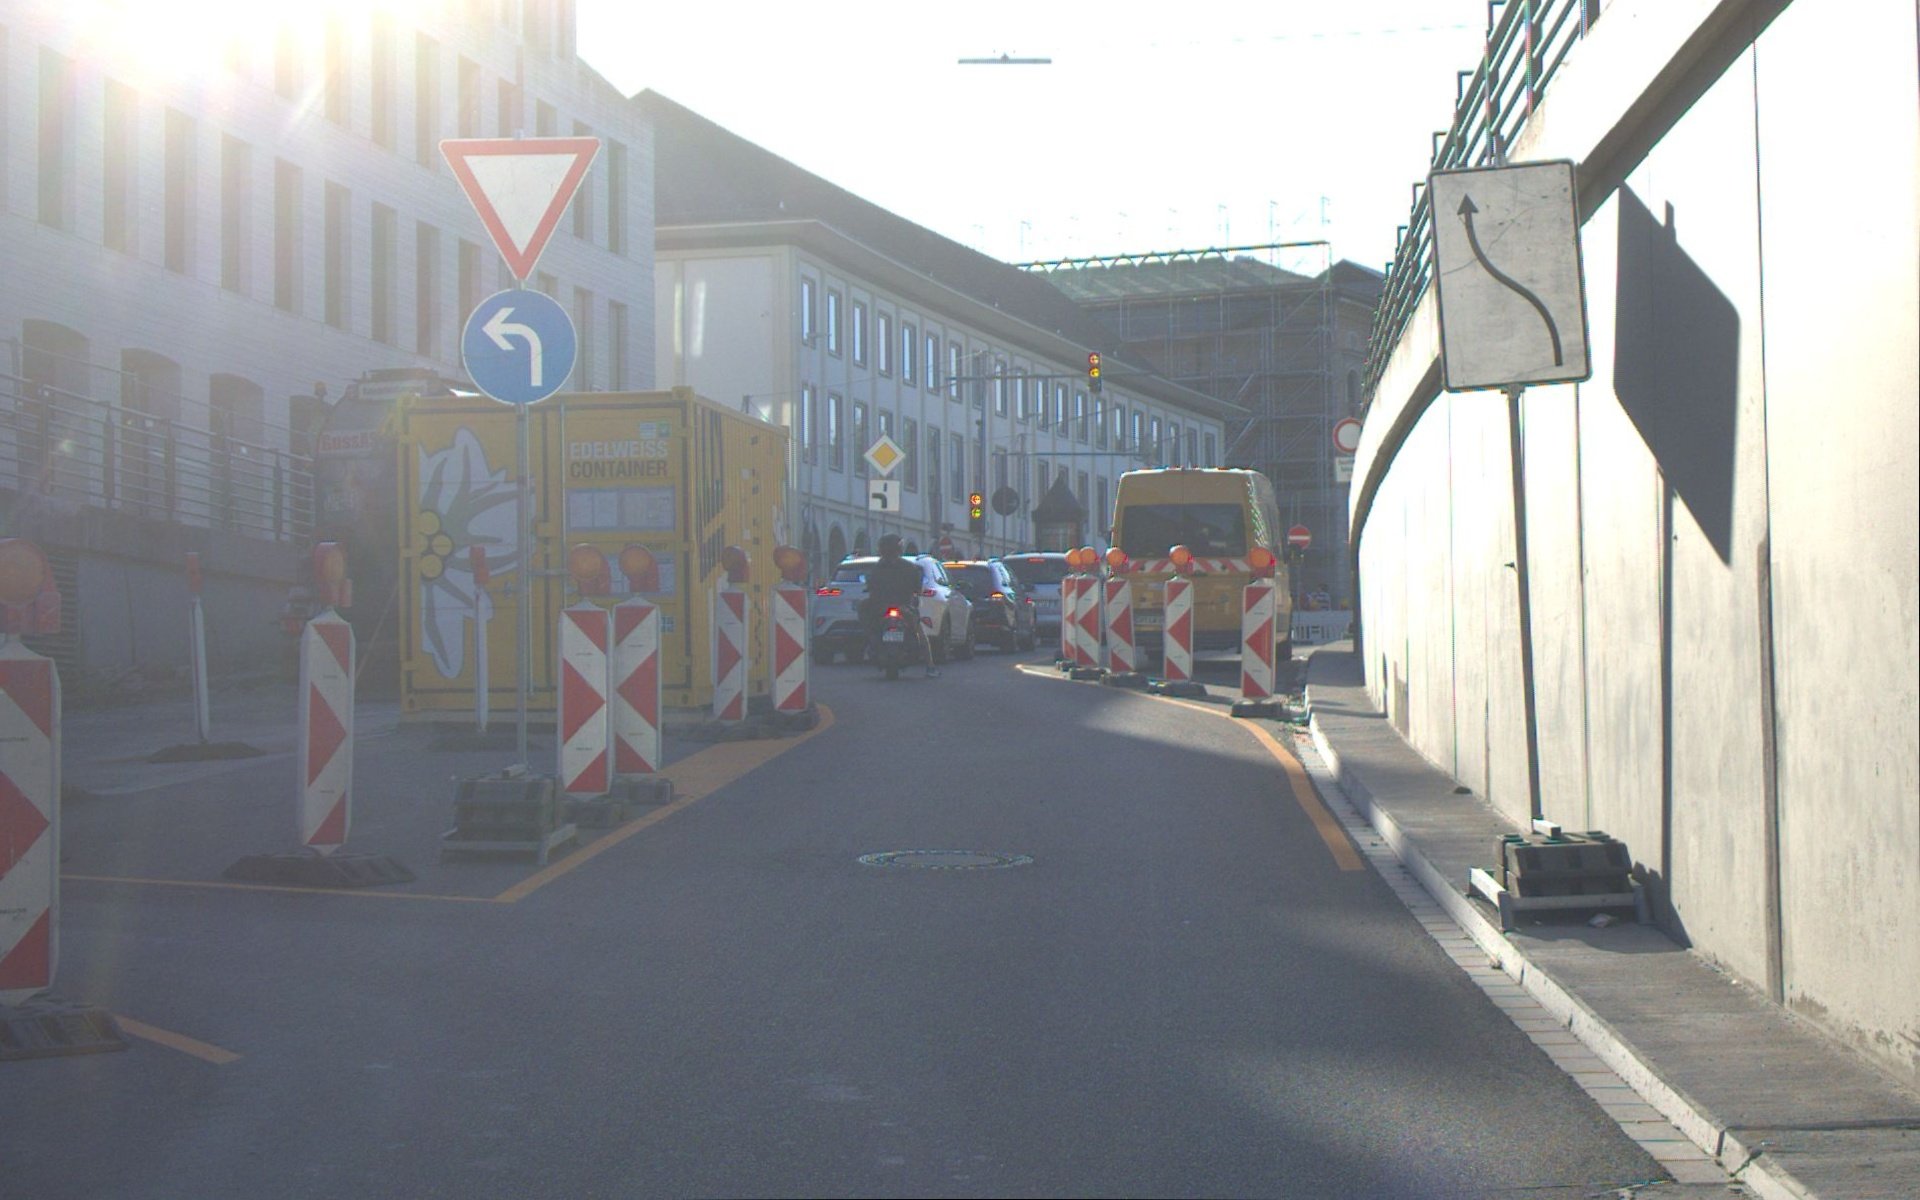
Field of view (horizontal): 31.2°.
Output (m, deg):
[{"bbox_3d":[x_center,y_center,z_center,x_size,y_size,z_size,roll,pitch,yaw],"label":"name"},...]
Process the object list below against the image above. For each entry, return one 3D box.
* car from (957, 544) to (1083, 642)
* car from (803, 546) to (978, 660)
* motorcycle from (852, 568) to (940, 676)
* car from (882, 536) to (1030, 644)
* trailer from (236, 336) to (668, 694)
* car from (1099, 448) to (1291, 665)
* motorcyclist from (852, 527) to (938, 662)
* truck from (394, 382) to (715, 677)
[{"bbox_3d":[1.126,-0.143,62.728,1.804,1.715,4.162,0,1,8],"label":"car"},{"bbox_3d":[-0.910,0.005,47.386,1.859,1.467,3.999,1,1,7],"label":"car"},{"bbox_3d":[-0.769,0.240,40.344,0.905,1.179,2.579,0,2,-4],"label":"motorcycle"},{"bbox_3d":[-0.019,-0.119,53.520,1.774,1.545,4.105,-1,-2,7],"label":"car"},{"bbox_3d":[-5.867,-0.945,41.463,2.642,3.657,8.746,-5,0,7],"label":"trailer"},{"bbox_3d":[3.200,-0.547,45.412,2.112,2.616,6.985,-1,0,7],"label":"car"},{"bbox_3d":[-0.768,-0.073,40.312,0.954,1.554,1.239,0,1,-4],"label":"motorcyclist"},{"bbox_3d":[-5.260,-0.896,45.638,2.580,3.478,5.814,-4,0,8],"label":"truck"}]
